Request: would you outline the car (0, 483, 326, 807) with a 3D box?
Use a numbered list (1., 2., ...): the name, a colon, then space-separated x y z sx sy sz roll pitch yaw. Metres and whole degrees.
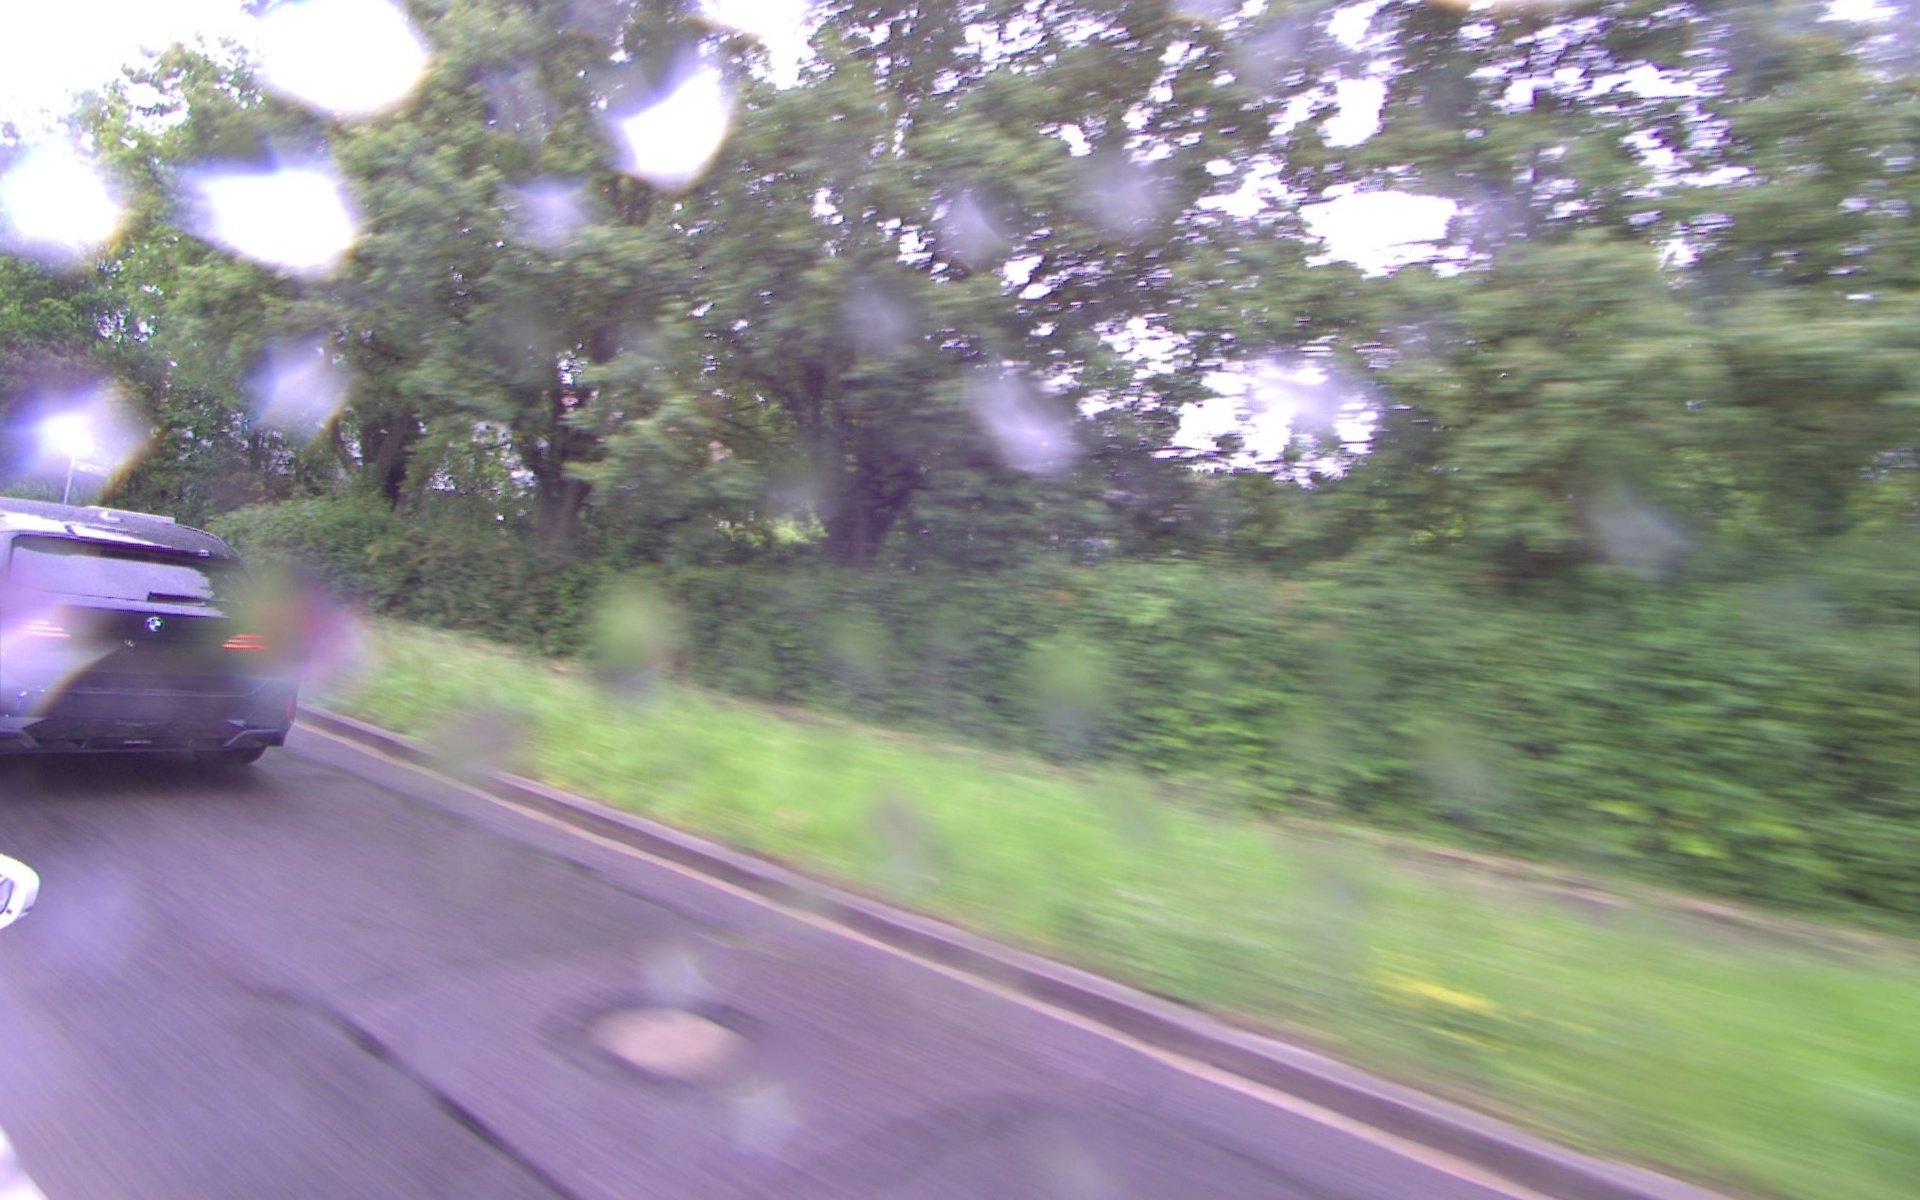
1. car: -5.792 0.121 6.274 3.616 1.554 1.766 6 -2 36
